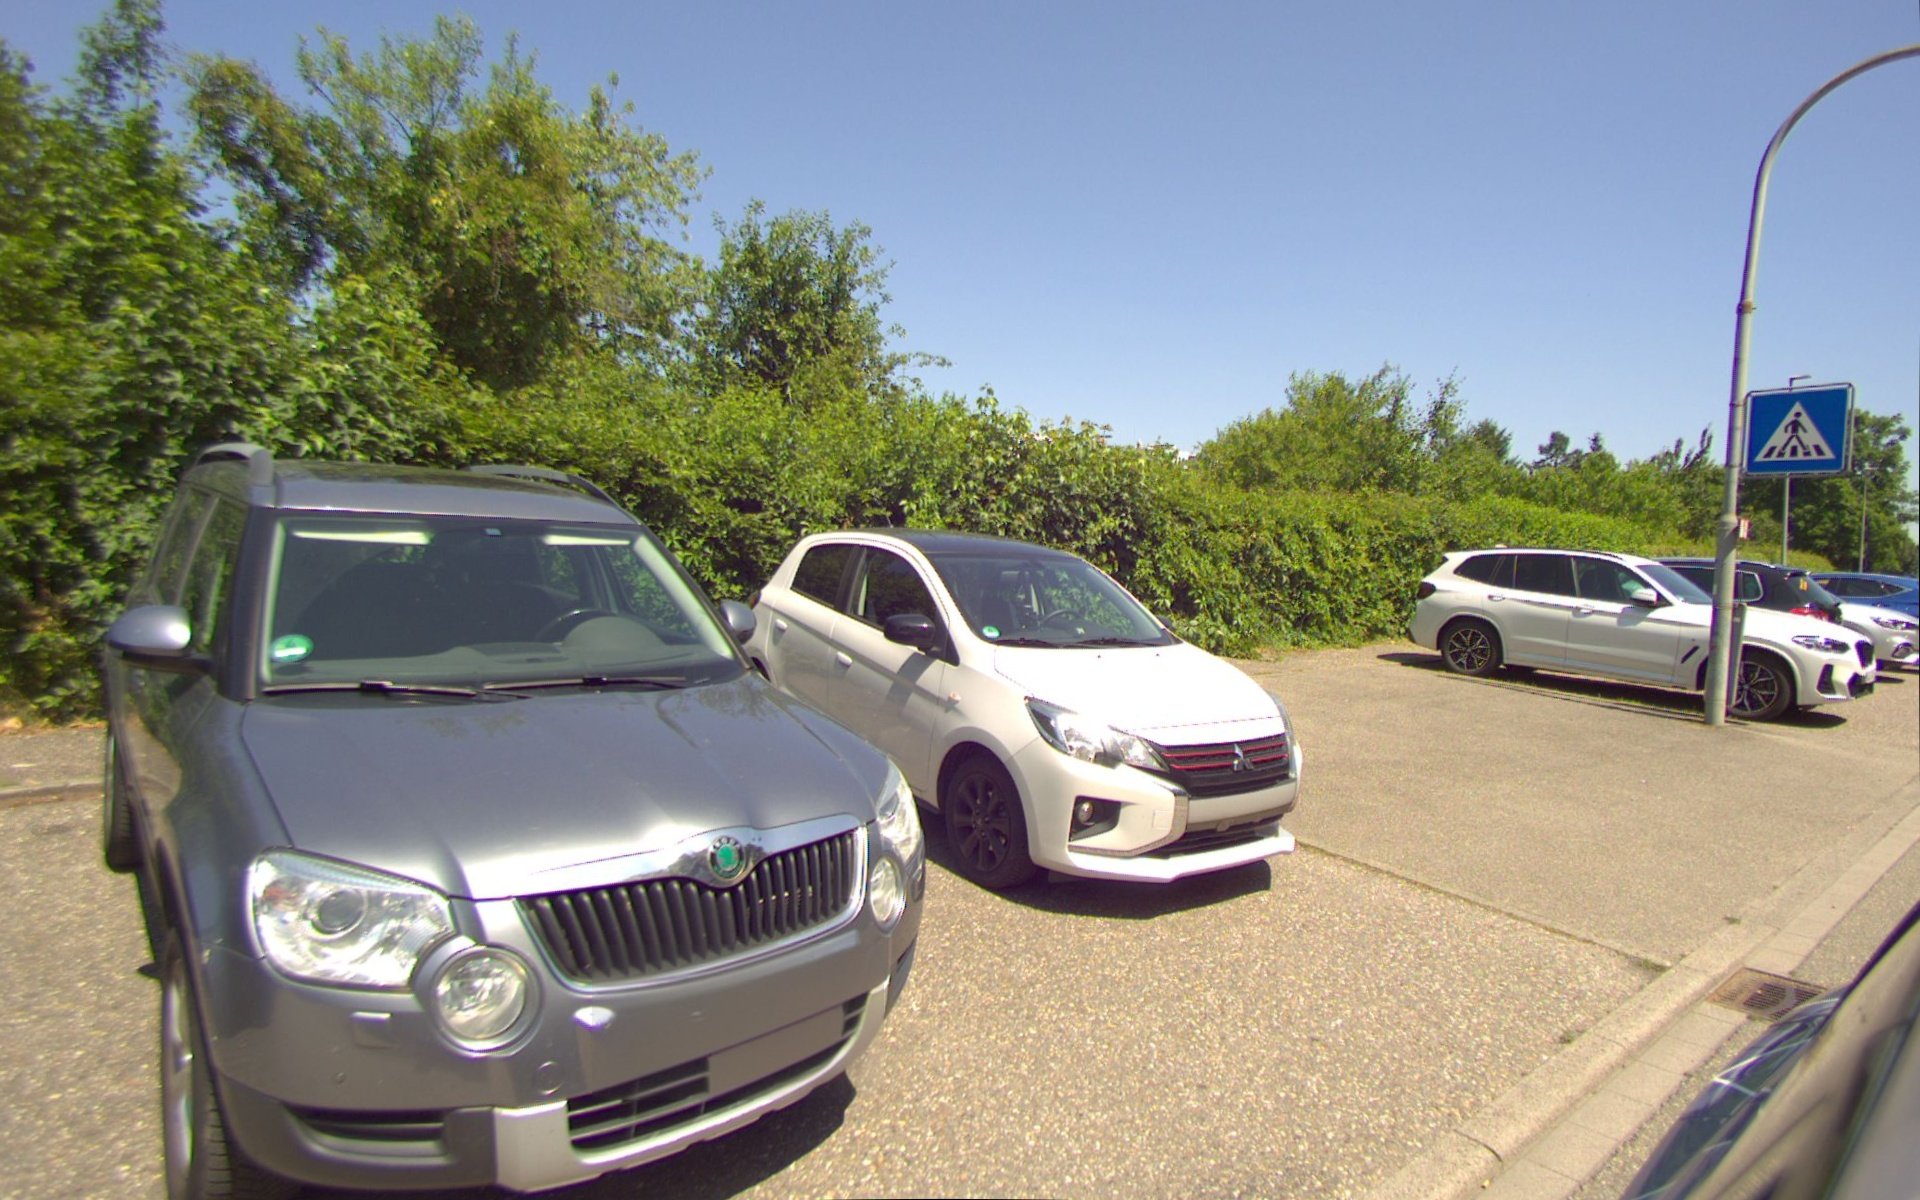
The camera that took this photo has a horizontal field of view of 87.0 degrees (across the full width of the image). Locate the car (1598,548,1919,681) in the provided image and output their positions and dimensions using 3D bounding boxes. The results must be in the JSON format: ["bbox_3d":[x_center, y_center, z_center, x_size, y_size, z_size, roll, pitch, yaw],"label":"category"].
[{"bbox_3d":[13.006,0.117,16.355,1.746,1.661,4.168,-1,6,-42],"label":"car"}]

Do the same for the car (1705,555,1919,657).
[{"bbox_3d":[17.431,0.088,19.970,1.644,1.661,4.037,-1,6,-40],"label":"car"}]

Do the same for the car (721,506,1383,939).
[{"bbox_3d":[0.160,0.324,5.655,1.579,1.467,3.705,1,6,-36],"label":"car"}]

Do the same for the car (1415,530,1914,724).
[{"bbox_3d":[8.083,0.127,12.038,1.818,1.750,4.467,-1,5,-39],"label":"car"}]

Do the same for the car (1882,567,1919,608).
[{"bbox_3d":[47.746,-0.485,48.900,1.668,1.872,4.487,-1,6,-44],"label":"car"}]

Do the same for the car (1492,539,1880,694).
[{"bbox_3d":[9.873,0.101,14.029,1.735,1.706,3.983,0,5,-40],"label":"car"}]

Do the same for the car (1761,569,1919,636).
[{"bbox_3d":[23.732,0.062,26.295,1.620,1.434,4.253,-1,6,-40],"label":"car"}]

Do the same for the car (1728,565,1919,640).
[{"bbox_3d":[21.412,0.025,24.612,1.620,1.463,4.037,-1,6,-40],"label":"car"}]

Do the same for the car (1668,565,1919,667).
[{"bbox_3d":[15.309,0.229,18.048,1.651,1.425,4.036,-1,6,-41],"label":"car"}]

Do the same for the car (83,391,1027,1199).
[{"bbox_3d":[-1.821,0.314,3.461,1.636,1.659,3.968,0,6,-43],"label":"car"}]
